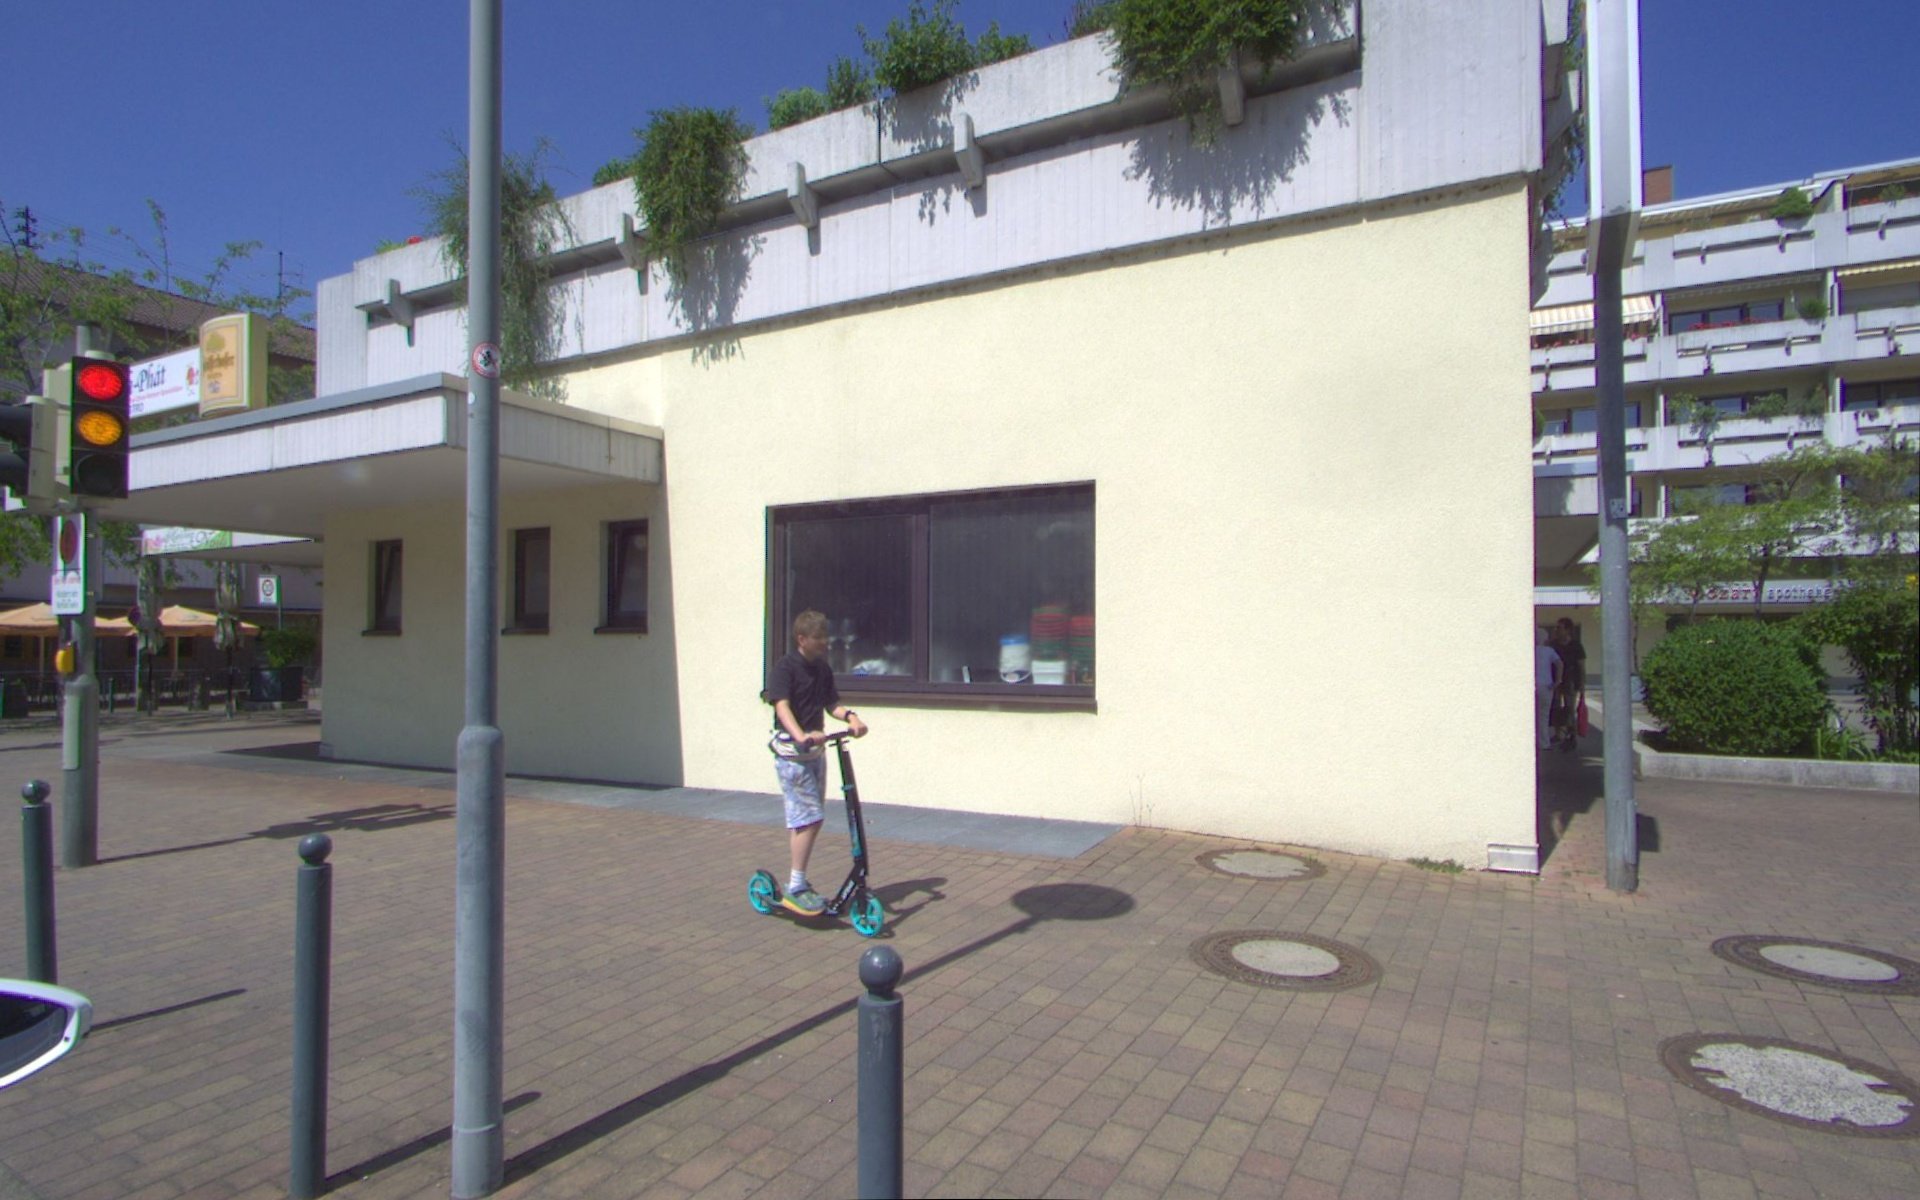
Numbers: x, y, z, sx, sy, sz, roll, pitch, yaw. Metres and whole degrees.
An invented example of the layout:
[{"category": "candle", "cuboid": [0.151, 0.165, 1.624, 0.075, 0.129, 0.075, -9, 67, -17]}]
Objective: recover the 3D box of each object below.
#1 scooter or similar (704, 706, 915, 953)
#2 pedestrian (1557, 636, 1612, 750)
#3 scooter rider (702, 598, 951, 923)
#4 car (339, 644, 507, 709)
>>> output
[{"category": "scooter or similar", "cuboid": [-0.711, 1.012, 4.659, 0.947, 0.977, 0.410, -1, -2, 34]}, {"category": "pedestrian", "cuboid": [8.448, 1.231, 13.559, 0.596, 1.482, 0.791, -1, -2, 32]}, {"category": "scooter rider", "cuboid": [-0.634, 0.681, 4.649, 1.117, 1.341, 0.460, -1, -1, 33]}, {"category": "car", "cuboid": [-13.441, 1.884, 25.056, 3.909, 1.528, 1.767, -2, -3, 26]}]
